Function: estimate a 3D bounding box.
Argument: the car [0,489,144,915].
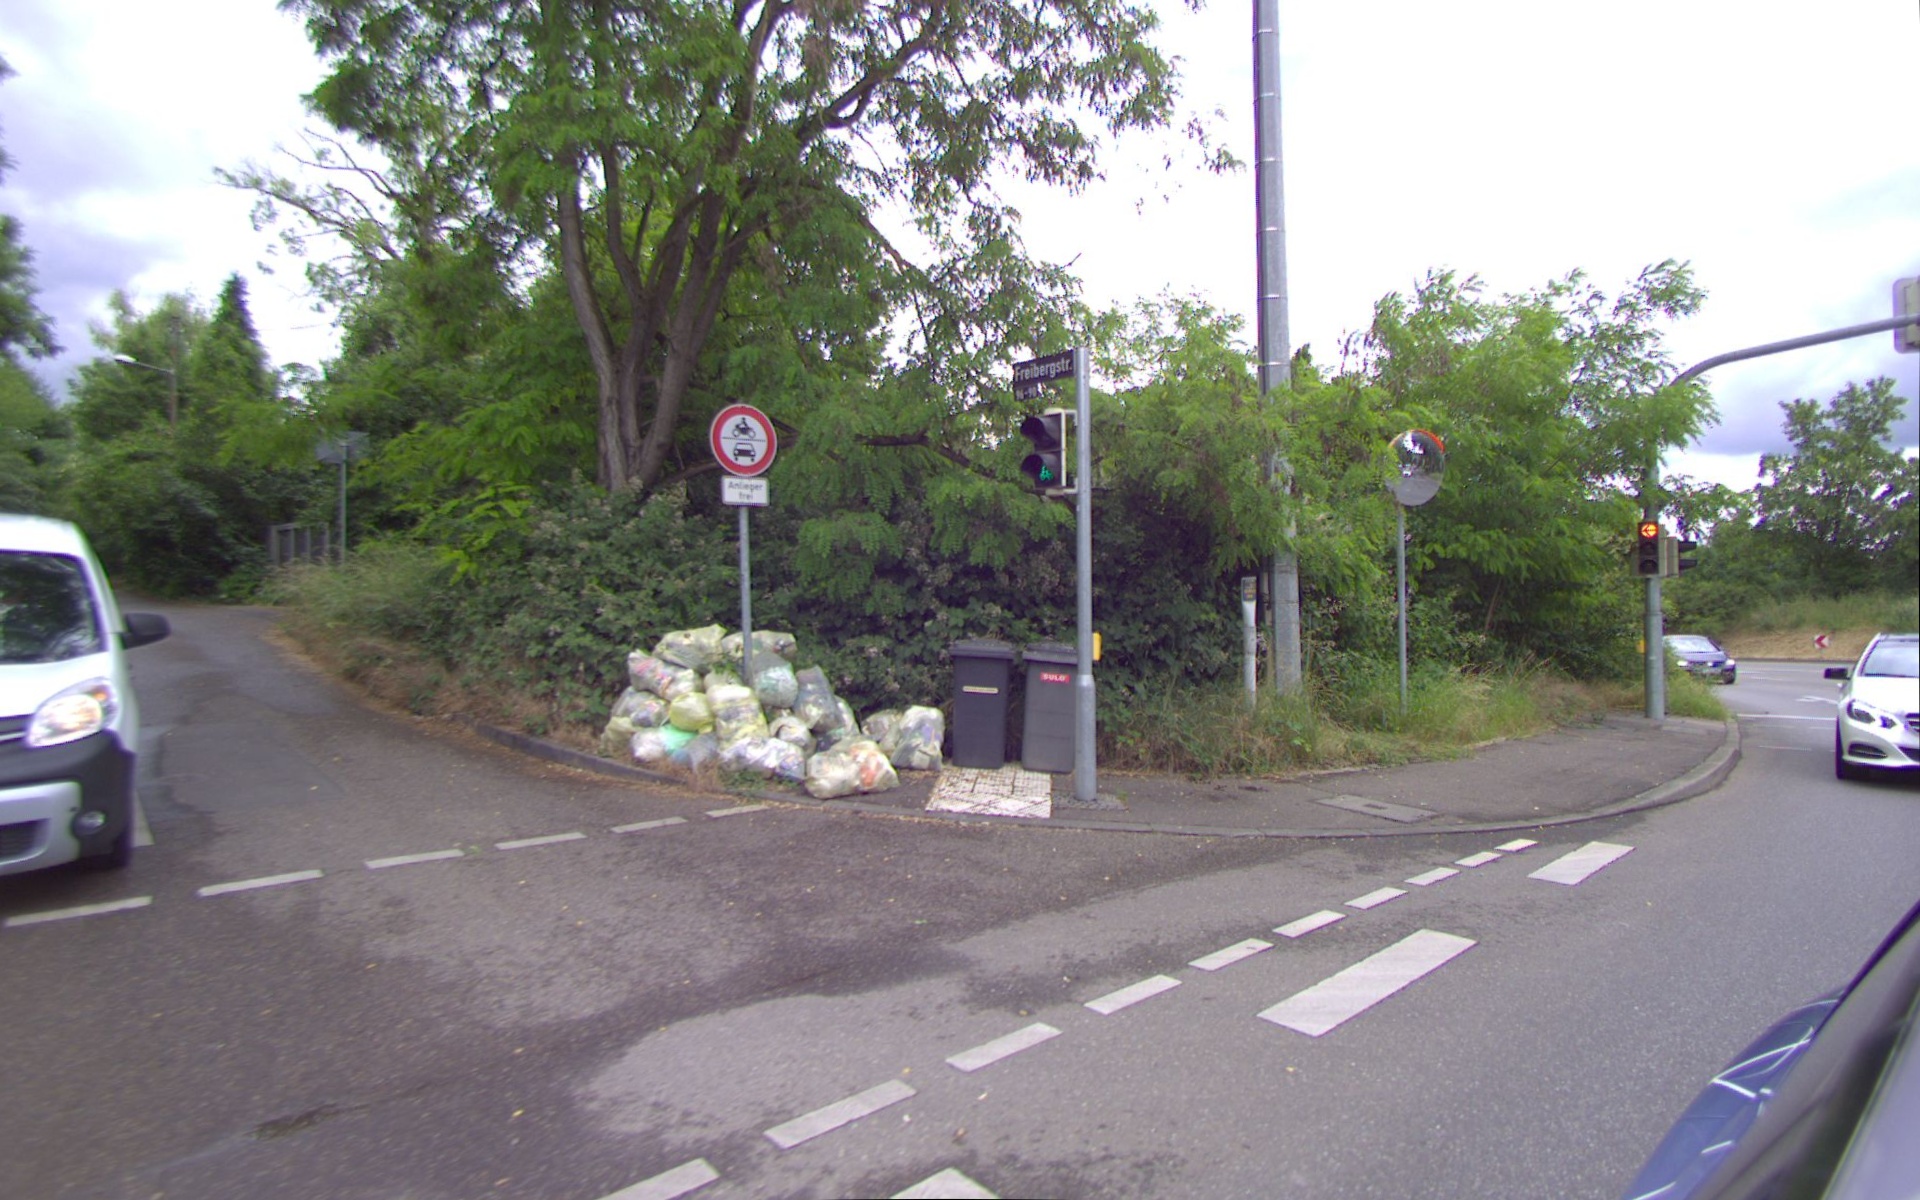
[{"bbox_3d":[-5.834,0.332,5.690,1.795,1.806,4.490,-1,3,-41],"label":"car"}]

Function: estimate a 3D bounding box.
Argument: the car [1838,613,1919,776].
[{"bbox_3d":[10.294,0.860,10.096,3.932,1.441,1.885,1,-1,-43],"label":"car"}]

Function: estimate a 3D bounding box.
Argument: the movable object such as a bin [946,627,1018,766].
[{"bbox_3d":[0.202,0.803,8.684,0.565,1.130,0.643,0,-1,6],"label":"movable object such as a bin"}]

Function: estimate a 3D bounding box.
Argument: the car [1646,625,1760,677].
[{"bbox_3d":[23.969,1.604,32.791,1.799,1.564,3.704,-1,-1,17],"label":"car"}]

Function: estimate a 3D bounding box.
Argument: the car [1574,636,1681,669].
[{"bbox_3d":[32.426,2.550,49.341,1.734,1.439,4.425,-2,-3,-9],"label":"car"}]

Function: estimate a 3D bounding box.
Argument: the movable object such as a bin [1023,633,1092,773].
[{"bbox_3d":[0.835,0.855,8.660,0.565,1.130,0.643,0,-1,6],"label":"movable object such as a bin"}]
